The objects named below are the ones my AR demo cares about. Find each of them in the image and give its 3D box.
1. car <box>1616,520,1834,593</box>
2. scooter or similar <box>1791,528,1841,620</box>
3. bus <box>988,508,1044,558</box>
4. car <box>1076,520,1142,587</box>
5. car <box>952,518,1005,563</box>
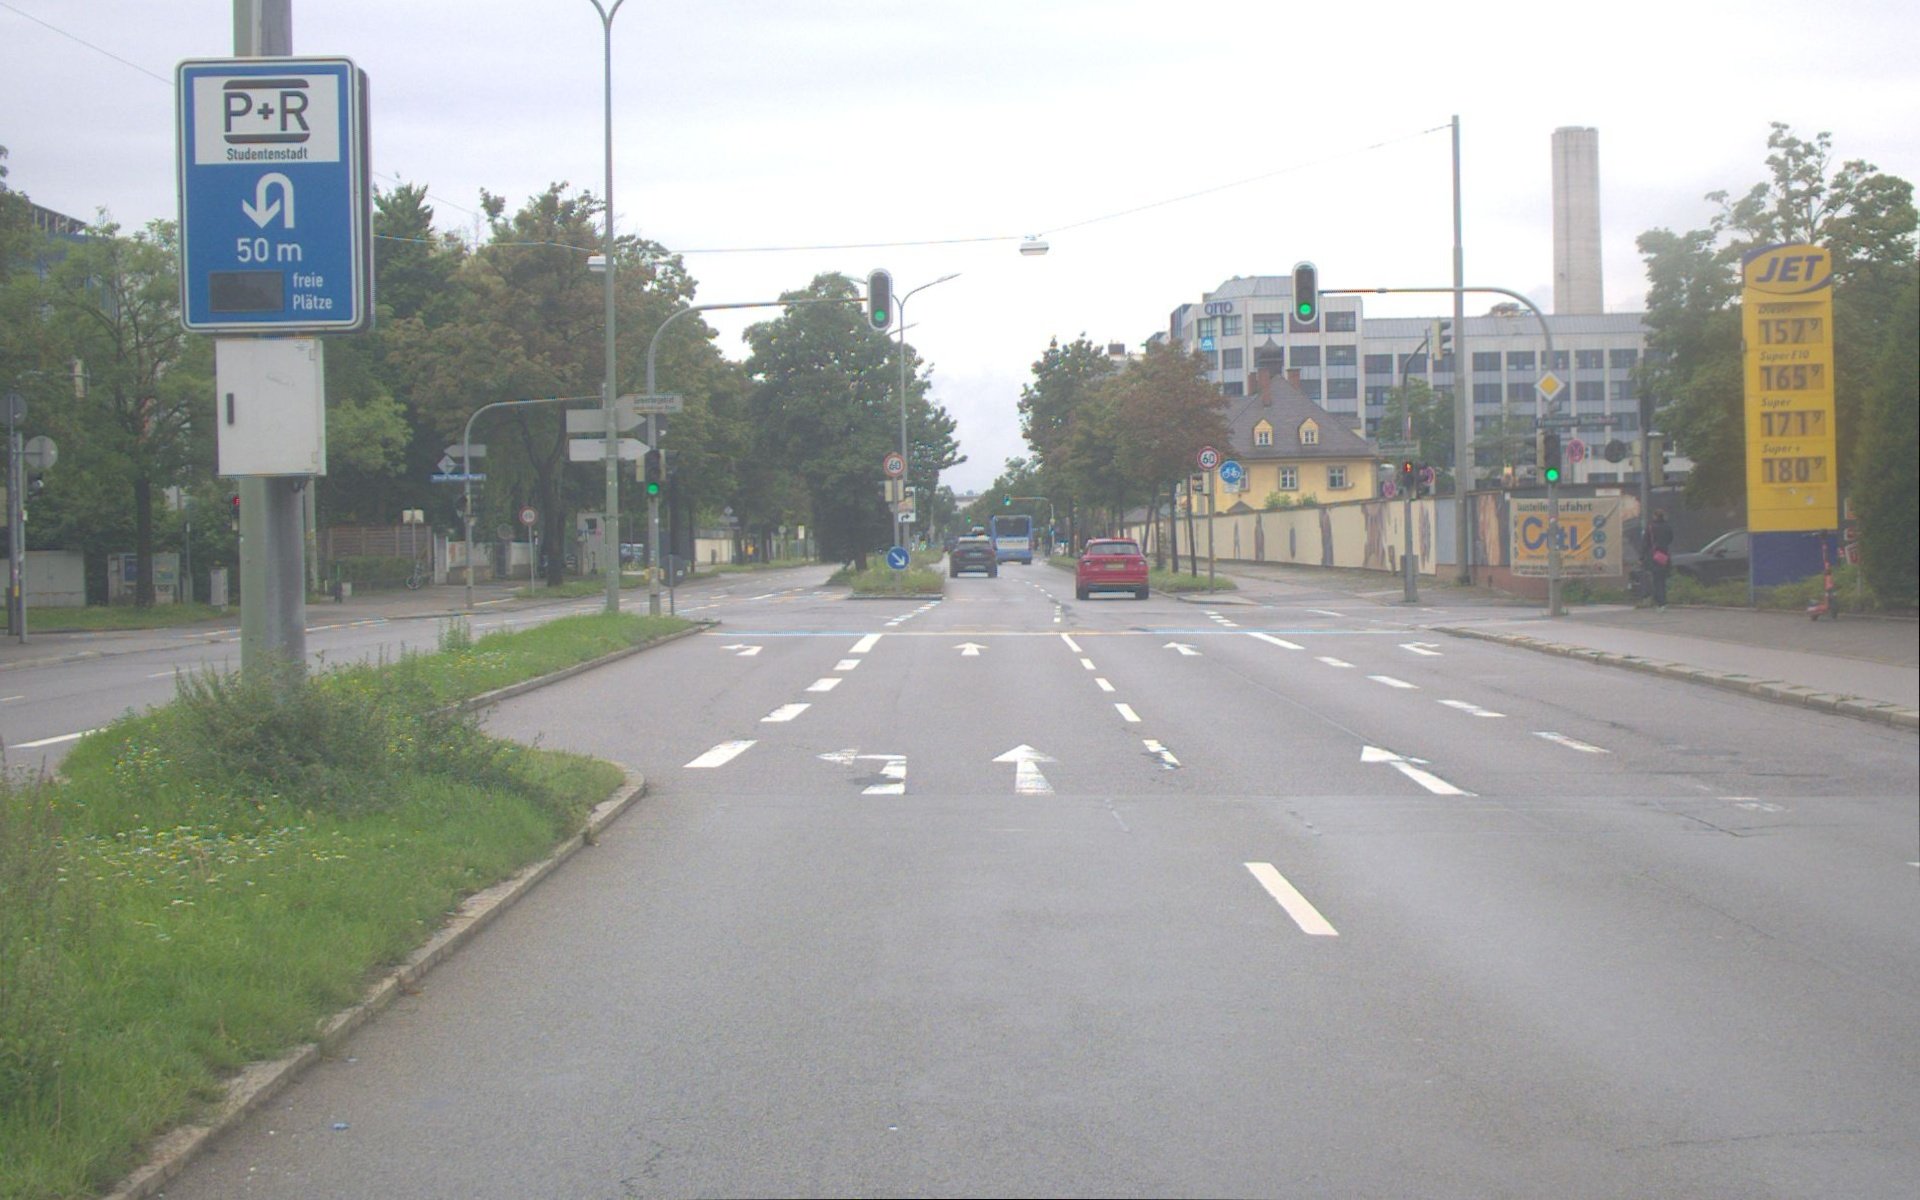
[{"bbox_3d":[16.366,-0.936,73.673,4.251,1.423,2.000,-1,1,3],"label":"car"},{"bbox_3d":[11.911,-0.366,47.841,0.356,1.238,1.545,-3,1,5],"label":"scooter or similar"},{"bbox_3d":[3.560,-4.282,220.599,3.220,3.116,10.346,0,1,-1],"label":"bus"},{"bbox_3d":[3.875,-1.212,89.710,1.484,1.710,3.551,0,1,-1],"label":"car"},{"bbox_3d":[0.738,-2.456,141.948,2.084,1.859,4.386,0,1,-1],"label":"car"}]
